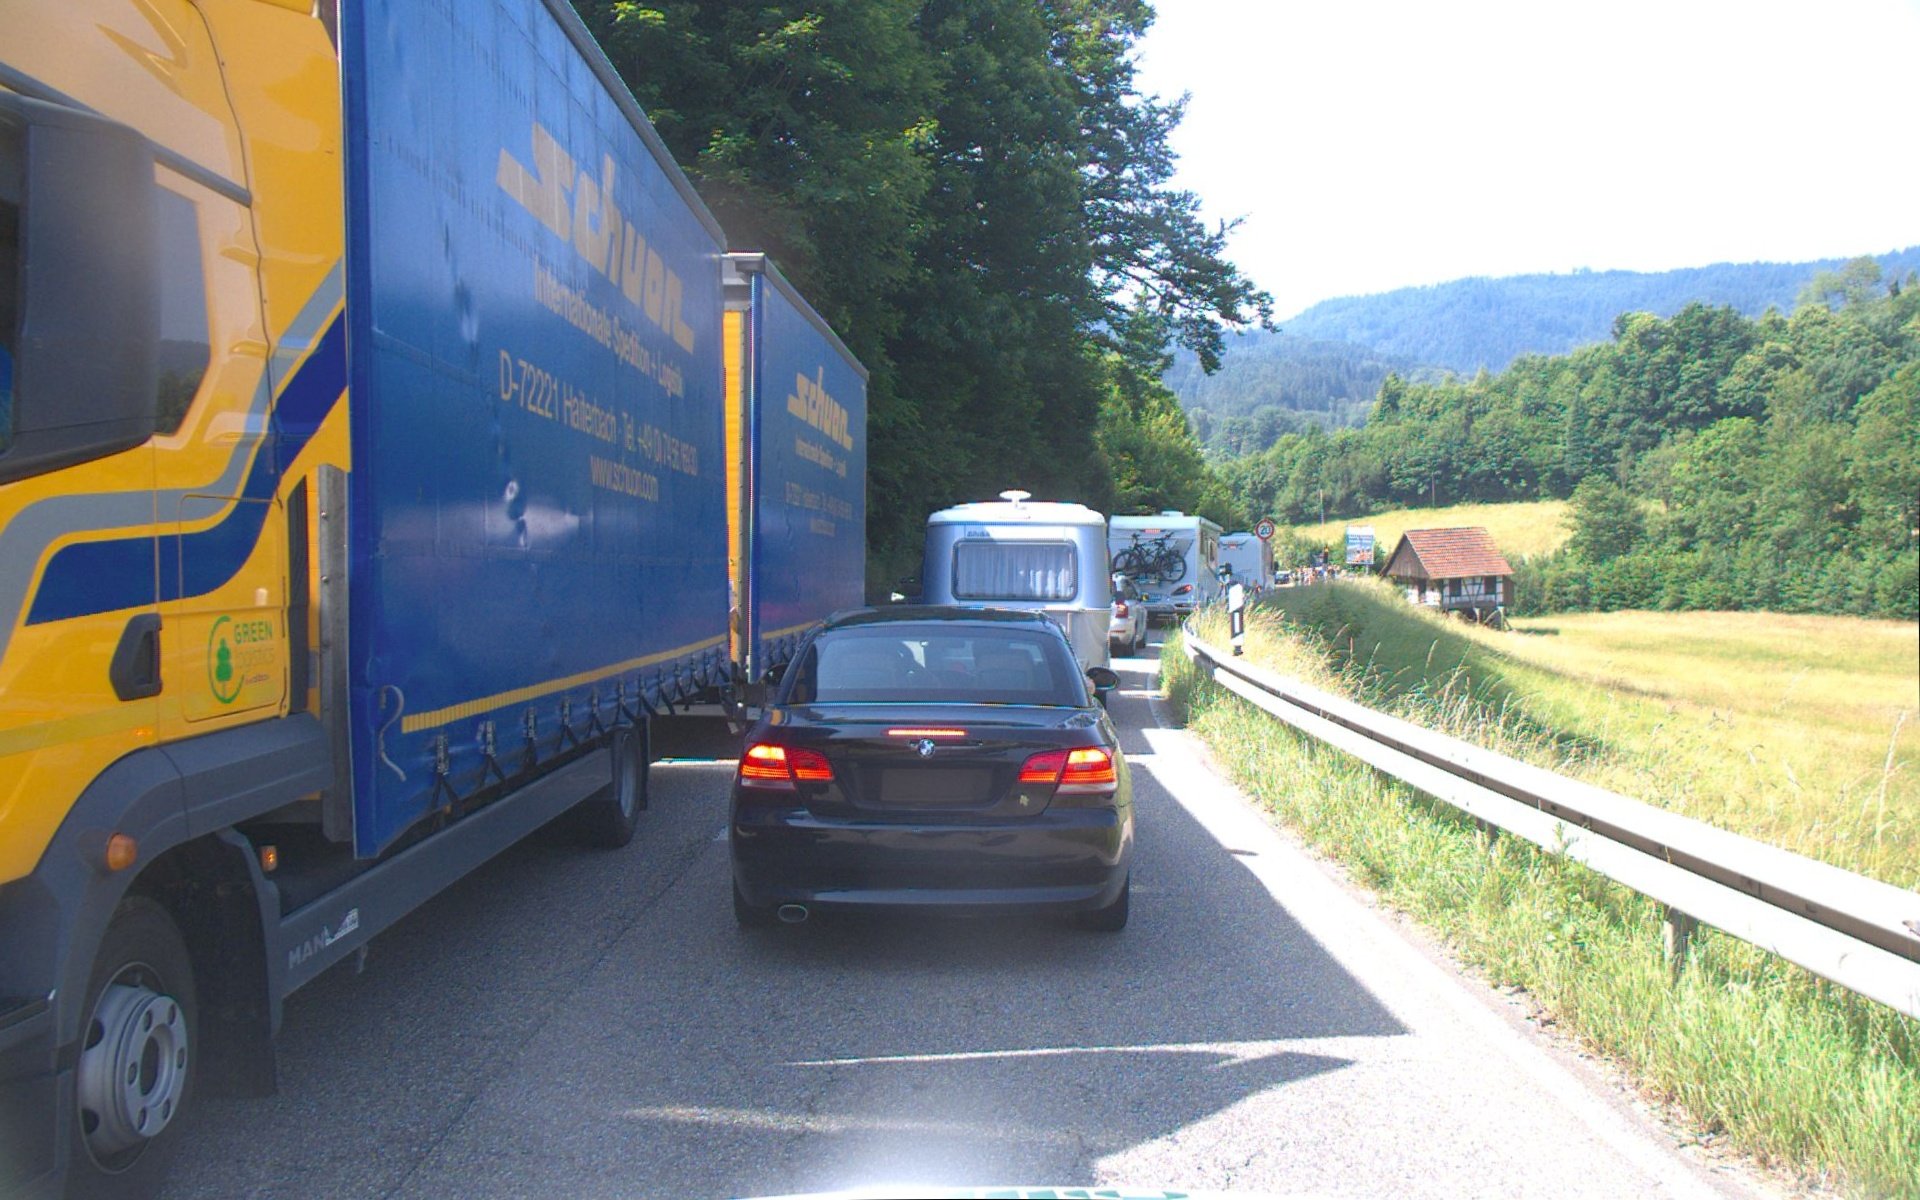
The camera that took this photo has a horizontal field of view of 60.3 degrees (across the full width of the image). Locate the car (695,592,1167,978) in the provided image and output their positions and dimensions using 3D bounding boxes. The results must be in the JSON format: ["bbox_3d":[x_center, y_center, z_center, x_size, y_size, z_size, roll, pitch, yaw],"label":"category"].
[{"bbox_3d":[-0.053,0.673,7.998,1.734,1.359,3.768,1,1,2],"label":"car"}]

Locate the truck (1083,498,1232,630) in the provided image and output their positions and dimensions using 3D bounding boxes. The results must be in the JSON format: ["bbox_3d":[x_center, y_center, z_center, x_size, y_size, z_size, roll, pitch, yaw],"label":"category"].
[{"bbox_3d":[5.261,-0.962,43.020,2.732,3.049,6.873,3,2,15],"label":"truck"}]

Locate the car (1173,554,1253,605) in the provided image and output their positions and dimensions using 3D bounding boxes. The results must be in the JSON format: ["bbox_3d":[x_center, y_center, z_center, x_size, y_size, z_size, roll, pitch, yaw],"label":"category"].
[{"bbox_3d":[8.098,-0.688,52.679,1.952,1.489,4.003,3,2,16],"label":"car"}]

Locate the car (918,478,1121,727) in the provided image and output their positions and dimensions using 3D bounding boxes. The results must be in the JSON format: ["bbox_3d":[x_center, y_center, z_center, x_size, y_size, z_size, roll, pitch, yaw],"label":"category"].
[{"bbox_3d":[0.758,-0.037,18.534,1.951,2.394,4.917,1,1,4],"label":"car"}]

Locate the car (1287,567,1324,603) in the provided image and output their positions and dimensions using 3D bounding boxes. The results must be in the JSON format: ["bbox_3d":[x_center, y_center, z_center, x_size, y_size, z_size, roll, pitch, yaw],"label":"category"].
[{"bbox_3d":[20.120,-0.862,96.261,1.951,1.959,4.003,4,1,12],"label":"car"}]

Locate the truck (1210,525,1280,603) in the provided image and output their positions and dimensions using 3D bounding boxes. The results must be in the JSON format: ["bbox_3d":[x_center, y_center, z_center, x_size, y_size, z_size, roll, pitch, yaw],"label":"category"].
[{"bbox_3d":[11.190,-1.346,64.593,2.190,2.853,6.237,1,0,14],"label":"truck"}]

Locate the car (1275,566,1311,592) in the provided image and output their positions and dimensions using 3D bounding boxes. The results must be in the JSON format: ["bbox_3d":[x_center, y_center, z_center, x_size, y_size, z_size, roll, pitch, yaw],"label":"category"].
[{"bbox_3d":[22.340,-1.394,110.788,1.951,1.603,4.002,1,0,17],"label":"car"}]

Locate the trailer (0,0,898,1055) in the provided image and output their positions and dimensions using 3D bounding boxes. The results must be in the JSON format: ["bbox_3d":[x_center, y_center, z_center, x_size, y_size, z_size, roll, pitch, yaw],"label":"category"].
[{"bbox_3d":[-2.858,-1.006,13.045,3.191,4.494,15.325,1,2,3],"label":"trailer"}]

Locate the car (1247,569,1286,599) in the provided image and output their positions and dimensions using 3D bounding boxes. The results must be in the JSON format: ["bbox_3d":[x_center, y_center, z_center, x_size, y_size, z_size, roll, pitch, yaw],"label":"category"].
[{"bbox_3d":[16.208,-0.823,87.260,1.866,1.512,4.003,1,0,12],"label":"car"}]

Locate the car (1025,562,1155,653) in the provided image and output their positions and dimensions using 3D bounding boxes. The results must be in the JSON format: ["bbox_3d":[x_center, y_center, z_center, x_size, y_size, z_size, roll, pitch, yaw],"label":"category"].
[{"bbox_3d":[2.496,0.099,30.875,1.951,1.510,4.004,2,1,11],"label":"car"}]

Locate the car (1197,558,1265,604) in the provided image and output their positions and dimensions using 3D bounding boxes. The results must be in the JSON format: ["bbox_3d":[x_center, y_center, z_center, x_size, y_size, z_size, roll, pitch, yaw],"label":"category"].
[{"bbox_3d":[9.569,-0.700,58.249,1.750,1.489,4.002,3,2,18],"label":"car"}]

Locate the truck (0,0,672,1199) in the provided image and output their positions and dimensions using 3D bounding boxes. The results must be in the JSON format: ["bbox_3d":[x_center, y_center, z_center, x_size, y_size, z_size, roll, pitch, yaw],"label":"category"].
[{"bbox_3d":[-3.169,-0.821,5.631,3.123,4.473,6.573,1,2,0],"label":"truck"}]

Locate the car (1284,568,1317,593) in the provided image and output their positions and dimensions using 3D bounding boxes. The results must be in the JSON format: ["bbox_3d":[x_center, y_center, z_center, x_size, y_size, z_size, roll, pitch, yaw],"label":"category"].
[{"bbox_3d":[25.419,-1.467,123.521,1.952,1.713,4.002,1,0,18],"label":"car"}]

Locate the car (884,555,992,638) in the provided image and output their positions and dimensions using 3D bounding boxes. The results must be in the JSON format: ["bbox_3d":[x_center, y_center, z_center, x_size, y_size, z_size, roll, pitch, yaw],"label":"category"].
[{"bbox_3d":[-0.409,-0.118,35.512,1.783,1.612,4.086,2,1,6],"label":"car"}]
